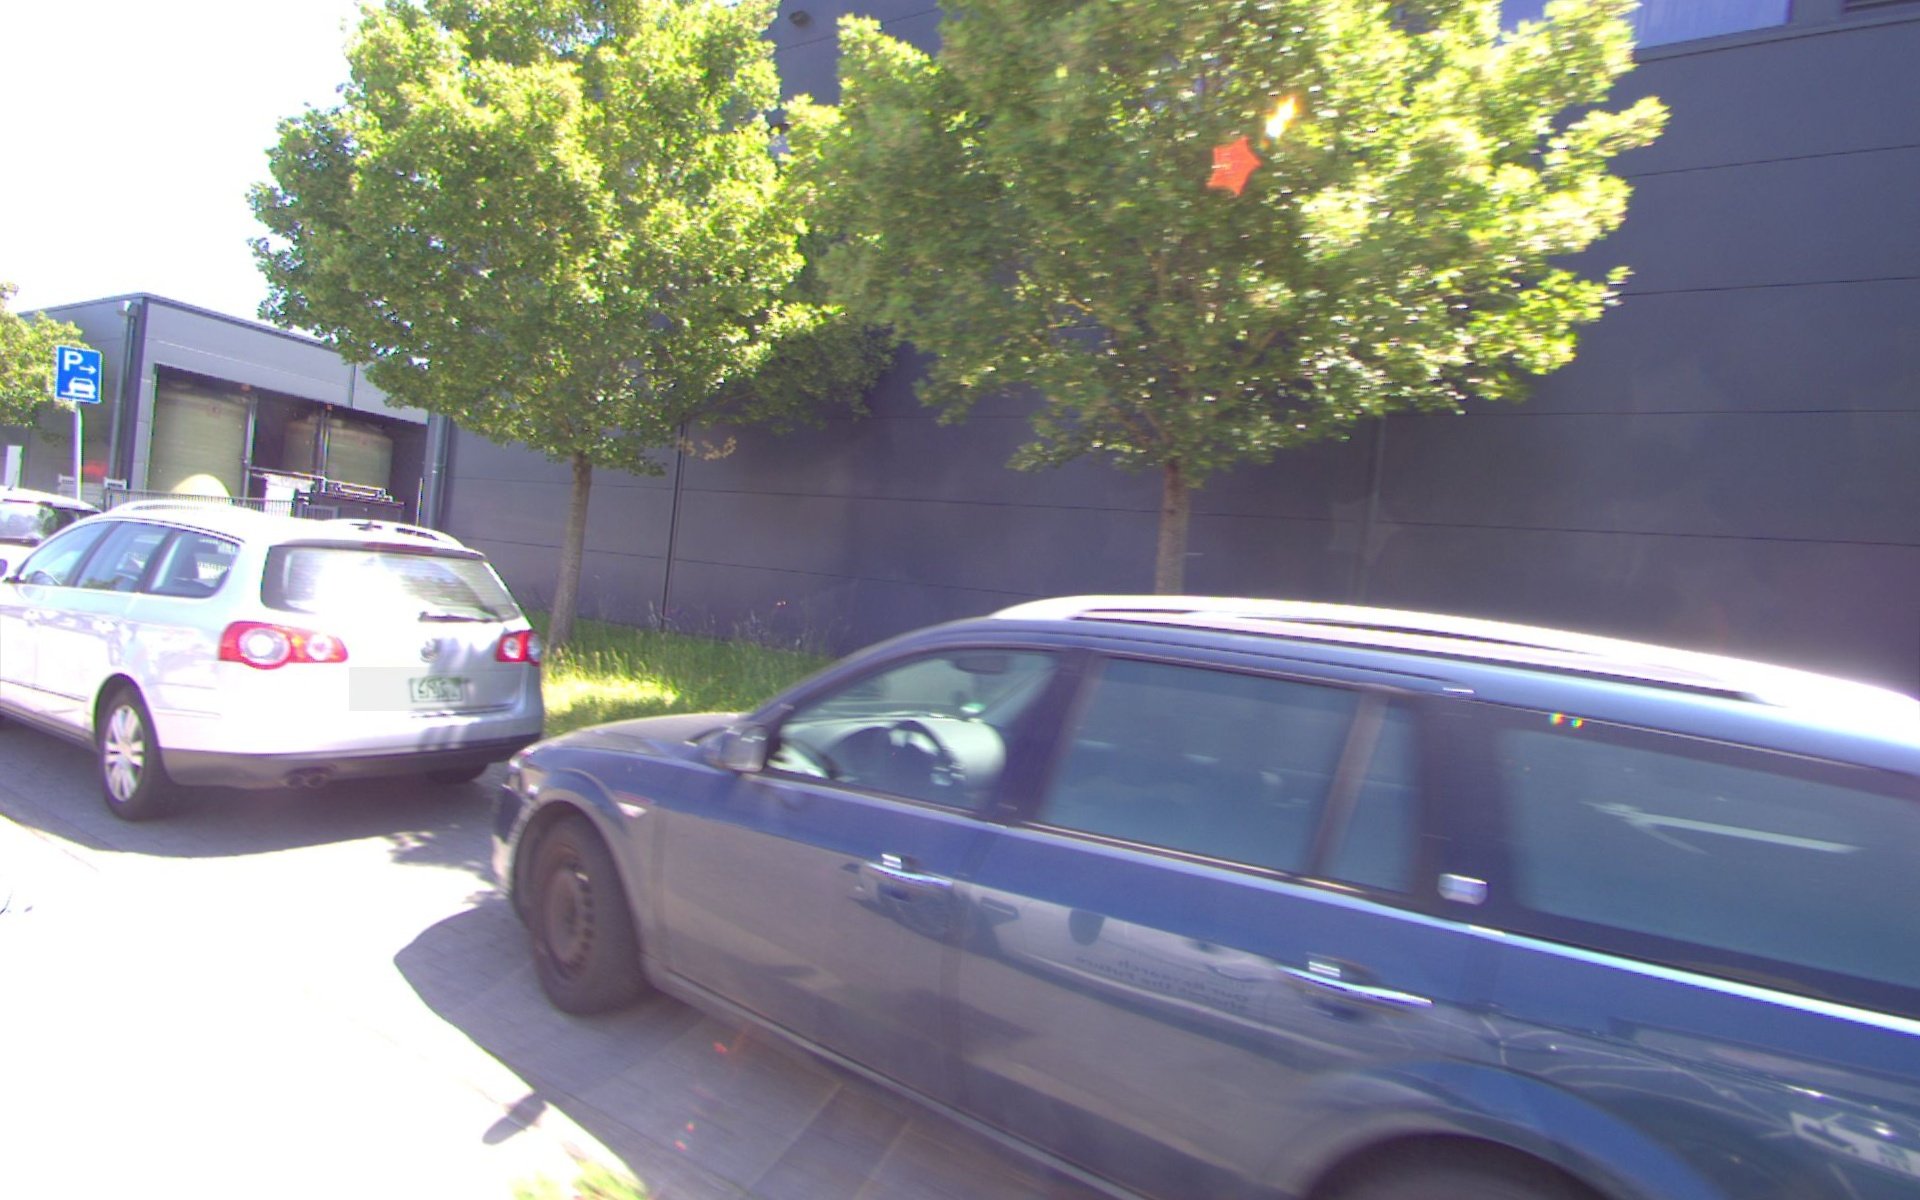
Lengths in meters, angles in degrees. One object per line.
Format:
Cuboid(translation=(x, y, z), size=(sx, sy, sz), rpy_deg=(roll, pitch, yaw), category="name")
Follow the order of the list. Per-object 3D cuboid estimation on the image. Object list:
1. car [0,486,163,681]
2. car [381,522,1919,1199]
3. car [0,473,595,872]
Cuboid(translation=(-8.946, -0.296, 8.886), size=(3.681, 1.488, 1.638), rpy_deg=(7, 2, 29), category="car")
Cuboid(translation=(0.230, 0.715, 3.099), size=(4.633, 1.523, 1.708), rpy_deg=(6, 1, 36), category="car")
Cuboid(translation=(-4.416, 0.180, 6.031), size=(4.432, 1.582, 1.749), rpy_deg=(6, 1, 32), category="car")
